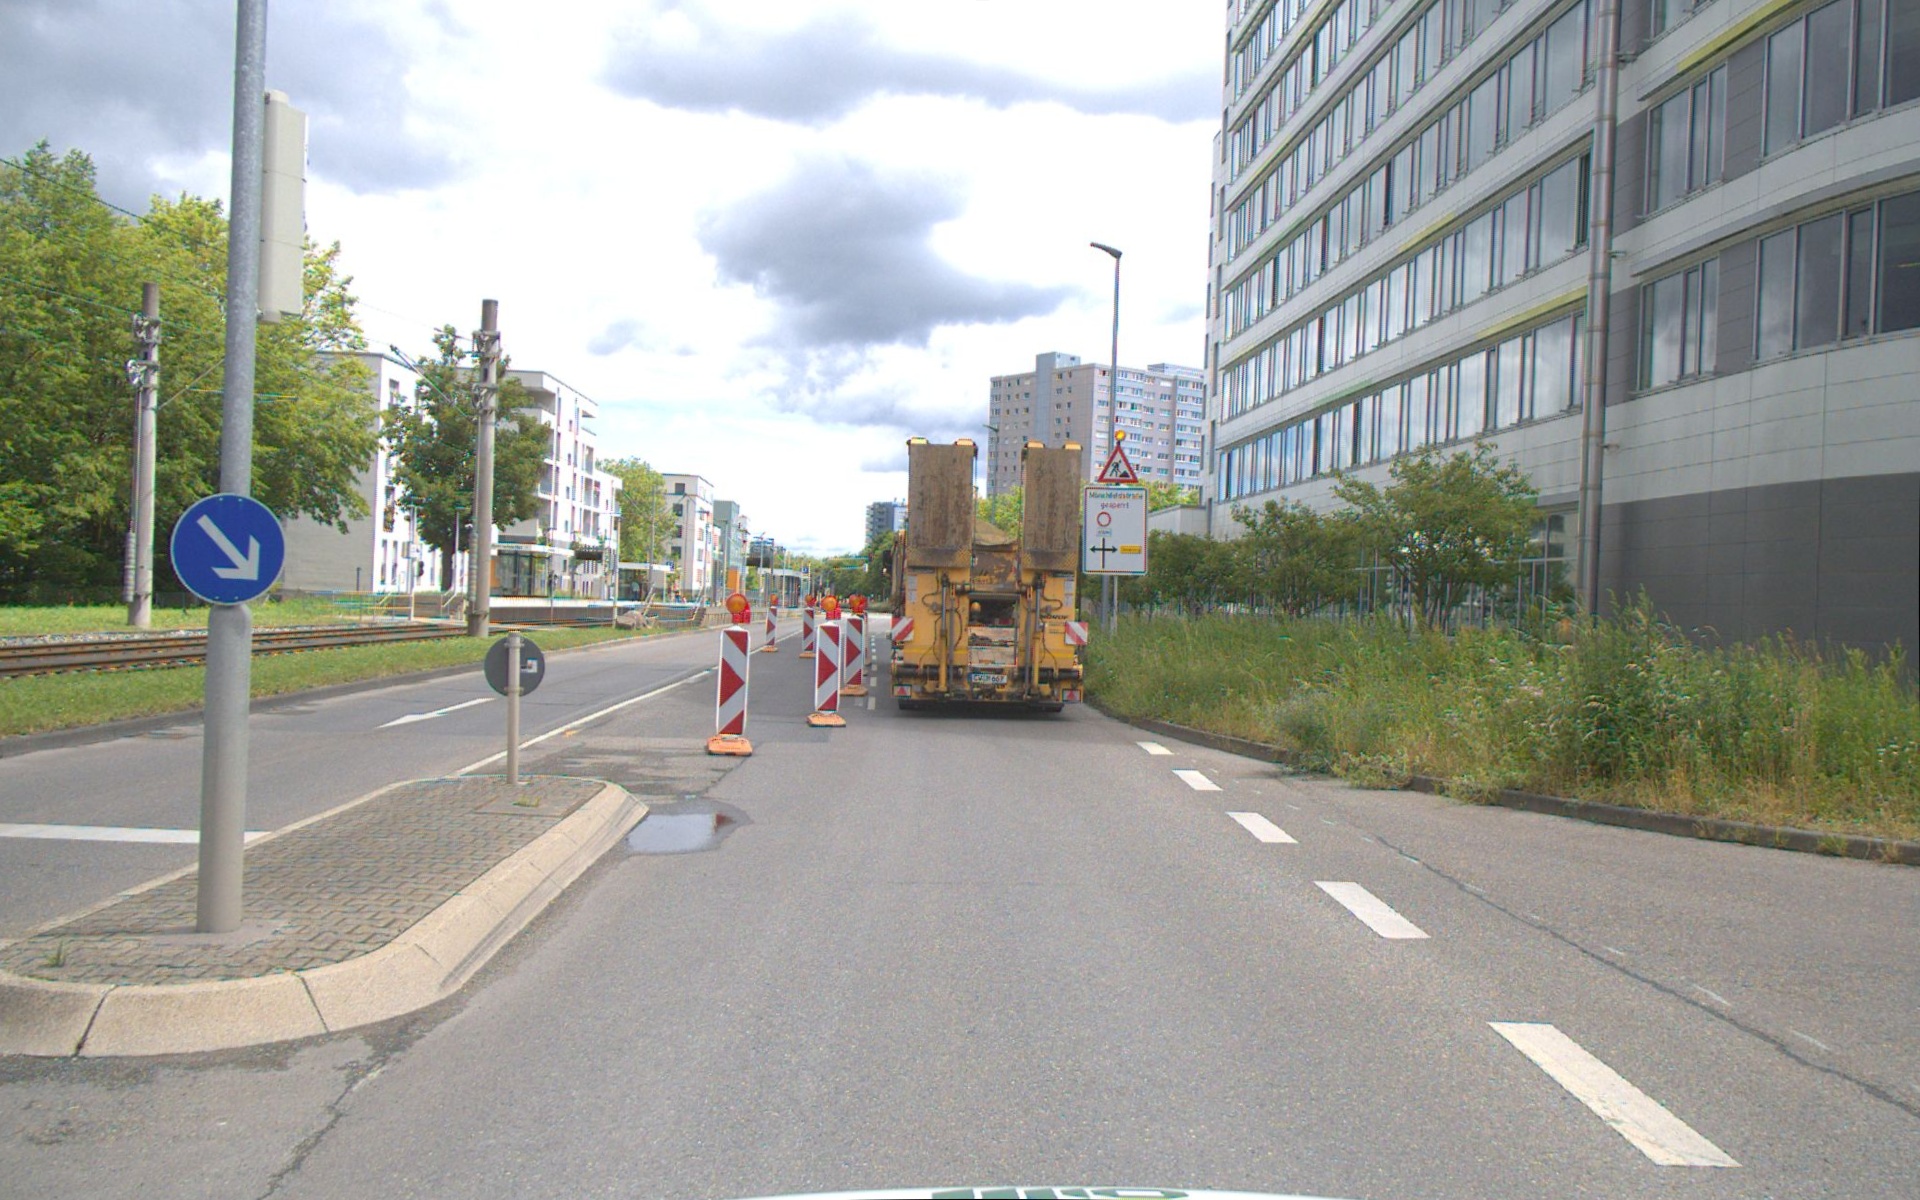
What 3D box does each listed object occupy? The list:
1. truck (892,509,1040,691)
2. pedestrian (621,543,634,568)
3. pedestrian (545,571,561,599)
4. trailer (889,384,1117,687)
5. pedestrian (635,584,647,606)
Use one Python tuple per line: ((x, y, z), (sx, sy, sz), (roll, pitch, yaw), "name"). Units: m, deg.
((-0.027, 0.017, 35.780), (2.698, 3.371, 8.348), (2, 0, -2), "truck")
((-23.753, -3.193, 118.206), (0.664, 1.755, 0.487), (3, -3, 37), "pedestrian")
((-23.133, -0.843, 93.958), (0.726, 1.558, 0.547), (2, -1, 1), "pedestrian")
((0.351, -0.779, 25.993), (2.674, 3.621, 11.249), (2, 0, -2), "trailer")
((-23.191, -0.357, 120.090), (0.478, 1.624, 0.676), (2, -1, 32), "pedestrian")
